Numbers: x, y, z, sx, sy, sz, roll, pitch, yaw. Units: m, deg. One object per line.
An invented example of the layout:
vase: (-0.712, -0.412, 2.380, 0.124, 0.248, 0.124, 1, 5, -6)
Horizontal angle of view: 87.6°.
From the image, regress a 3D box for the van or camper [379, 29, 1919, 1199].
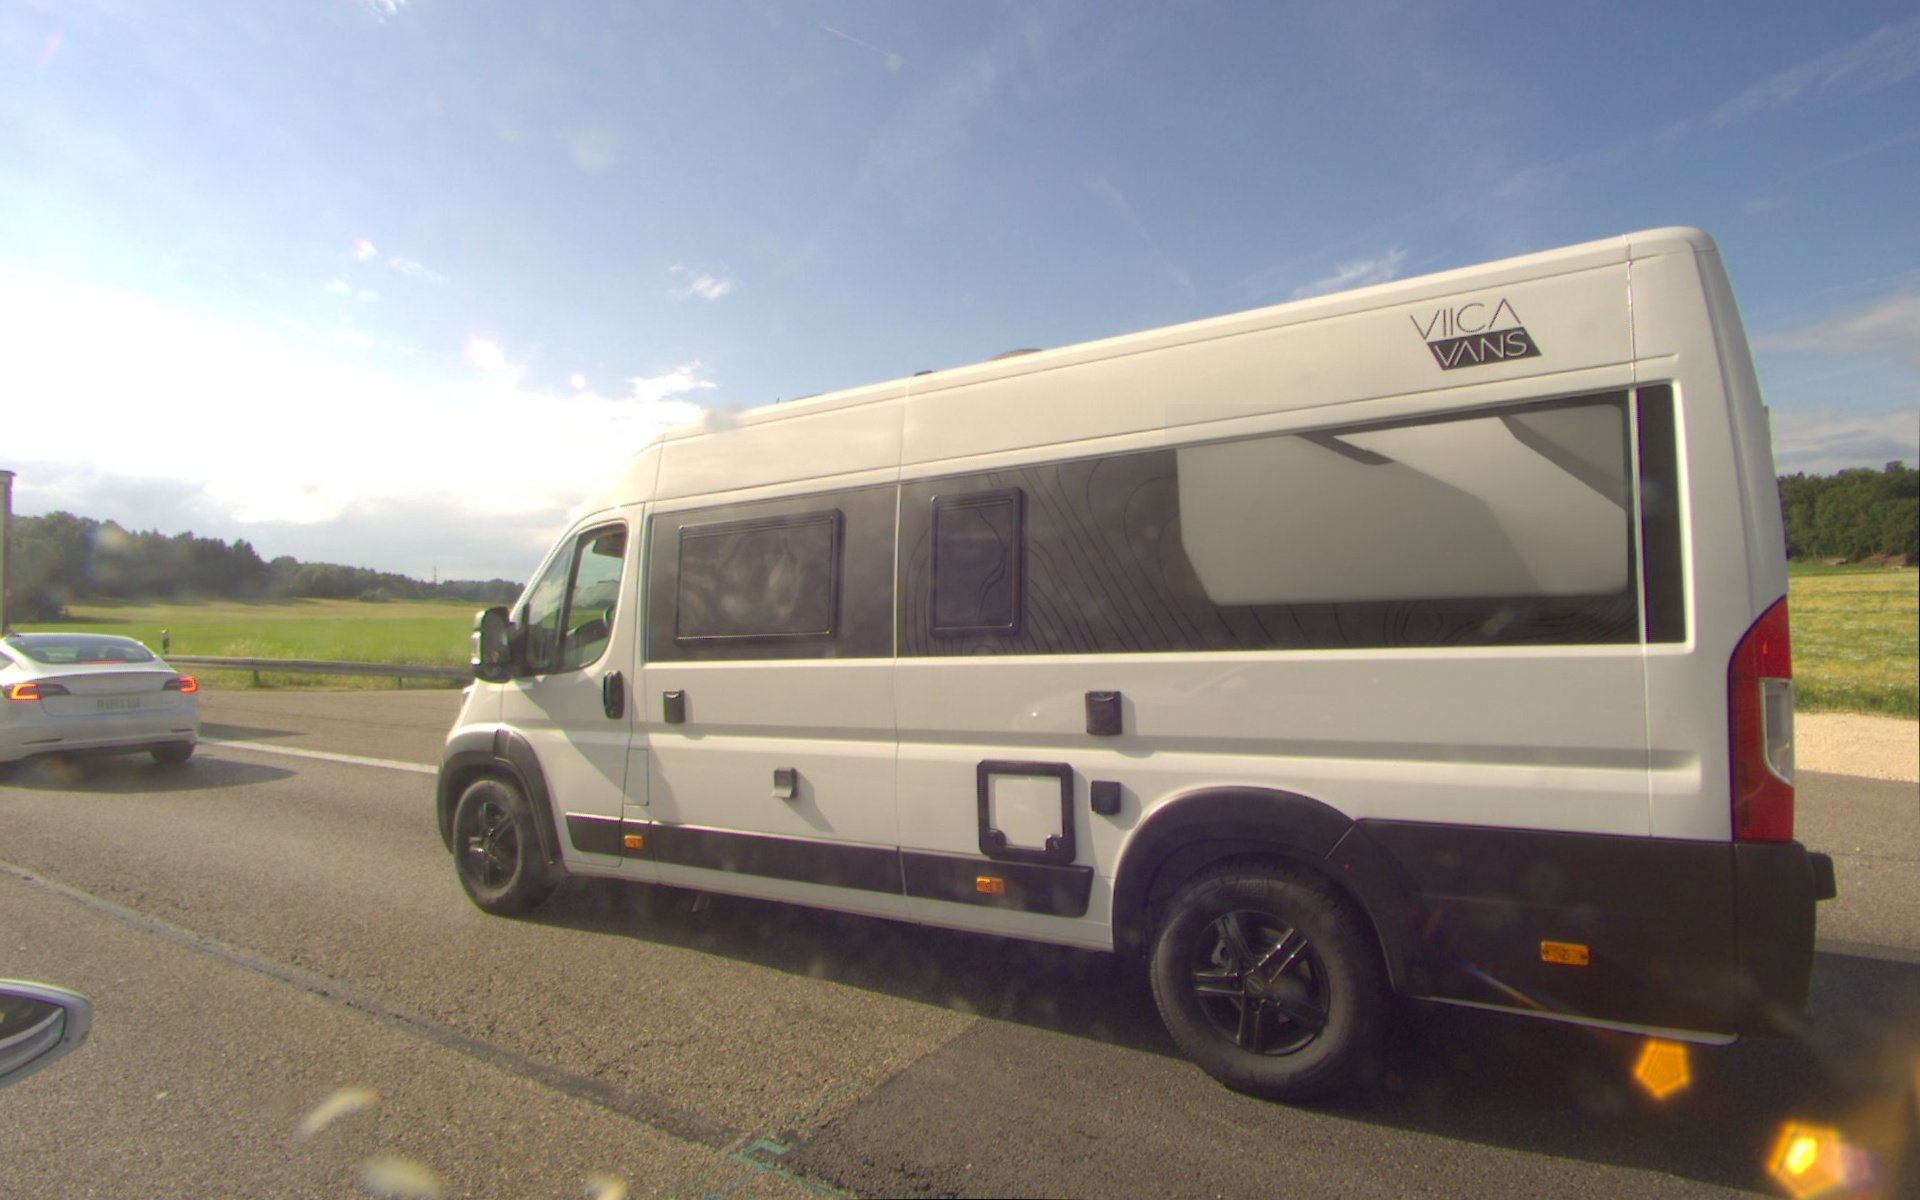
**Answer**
van or camper: (0.052, 0.184, 4.760, 6.241, 2.716, 2.211, -1, -1, 32)

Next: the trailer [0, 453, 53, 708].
trailer: (-21.268, -0.125, 18.733, 13.181, 4.061, 3.125, -2, -2, 33)

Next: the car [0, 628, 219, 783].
car: (-10.323, 1.031, 11.147, 4.371, 1.412, 1.786, -1, -1, 30)
